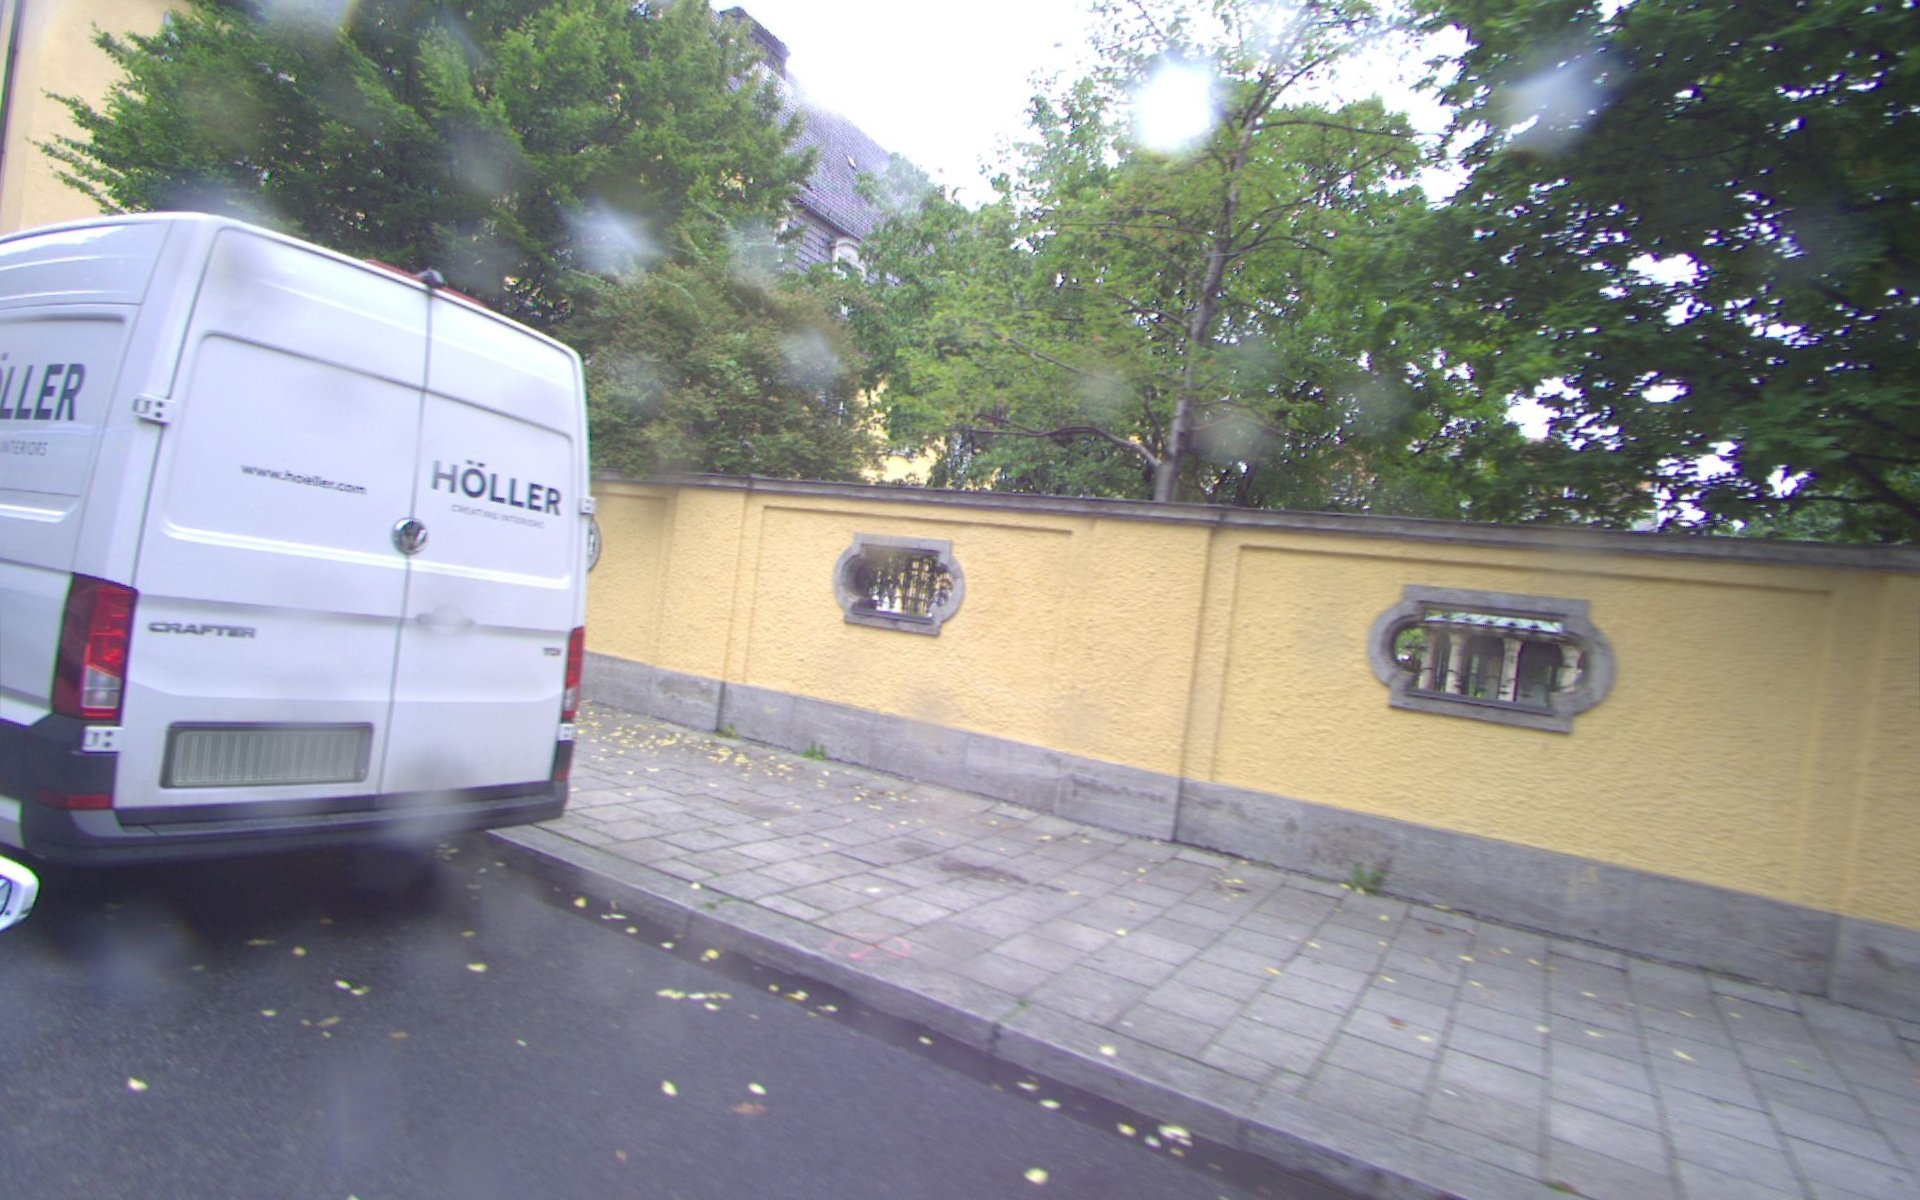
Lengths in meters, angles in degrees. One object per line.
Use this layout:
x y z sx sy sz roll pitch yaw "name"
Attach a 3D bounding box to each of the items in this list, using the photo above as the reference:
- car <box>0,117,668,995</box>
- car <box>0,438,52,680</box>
-4.433 -0.287 5.200 5.643 2.518 2.099 6 -1 30 "car"
-10.268 -0.653 8.671 5.076 1.929 2.018 7 -2 30 "car"
